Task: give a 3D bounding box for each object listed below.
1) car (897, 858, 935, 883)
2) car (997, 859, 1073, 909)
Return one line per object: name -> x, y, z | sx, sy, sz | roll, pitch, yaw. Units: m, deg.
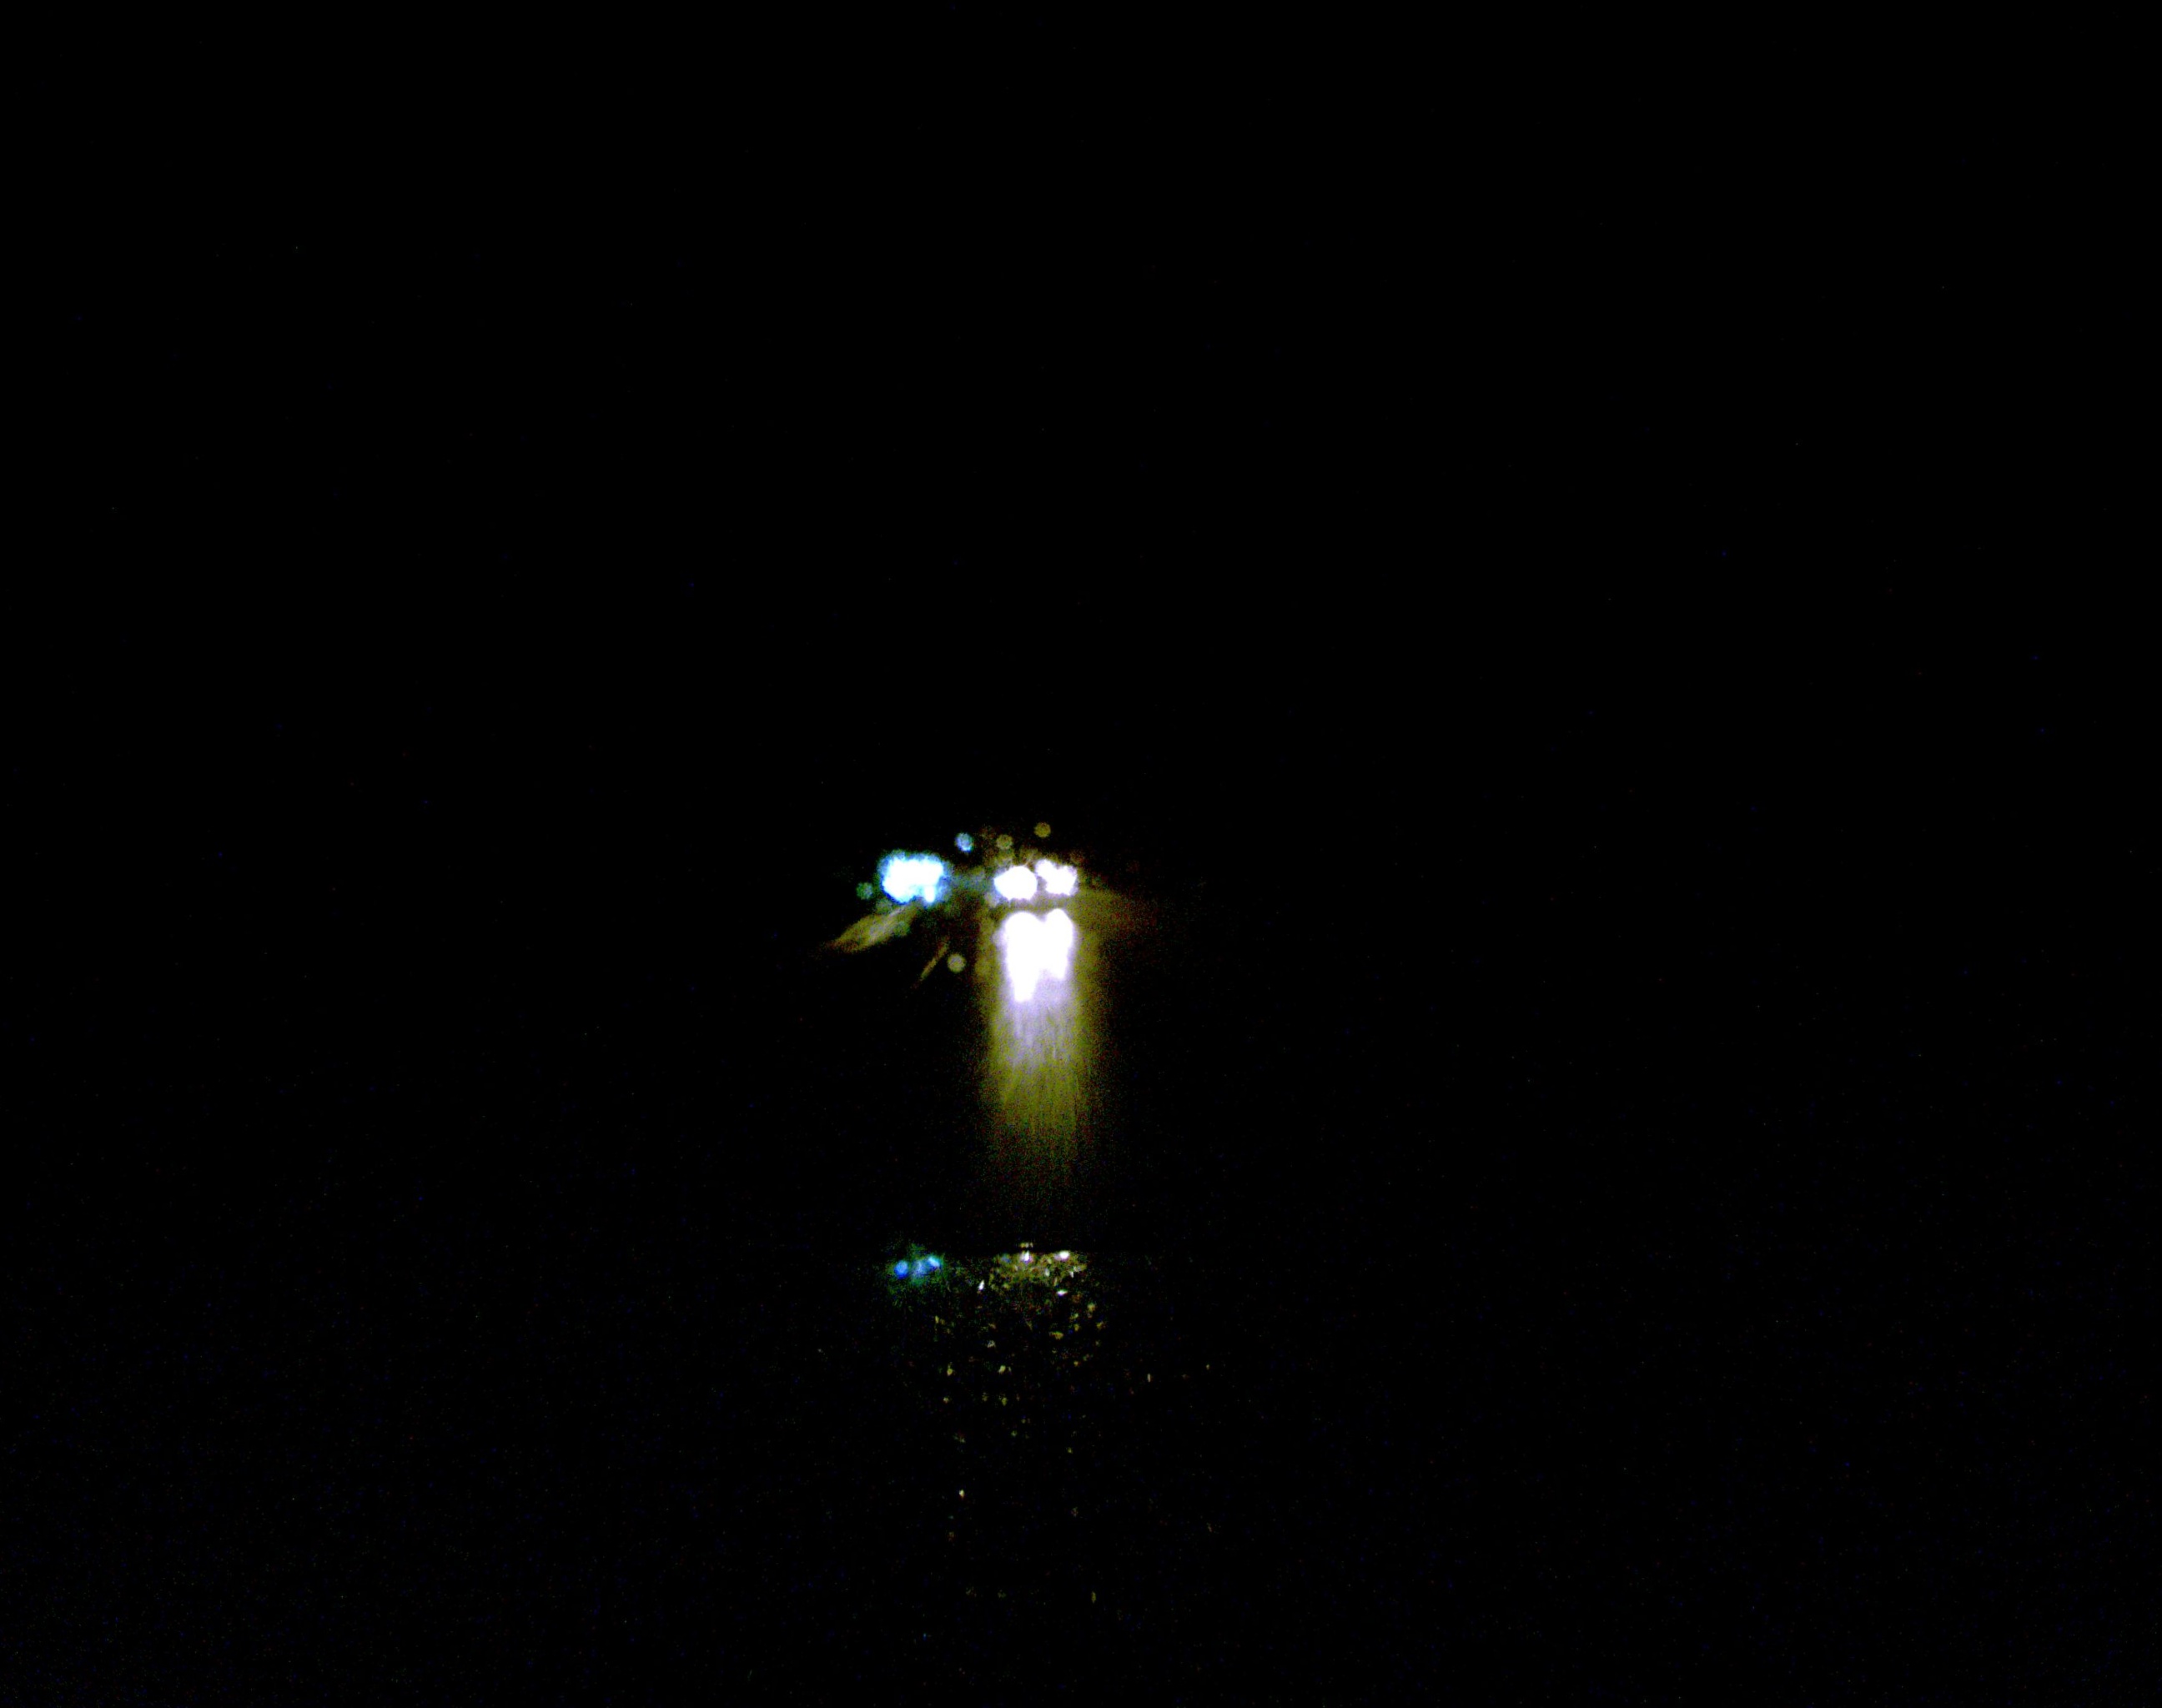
car -> -10.906, 1.105, 50.144 | 1.851, 1.440, 3.870 | -6, 0, -19
car -> -1.639, 0.943, 25.805 | 1.851, 1.441, 3.995 | -2, 1, -14
